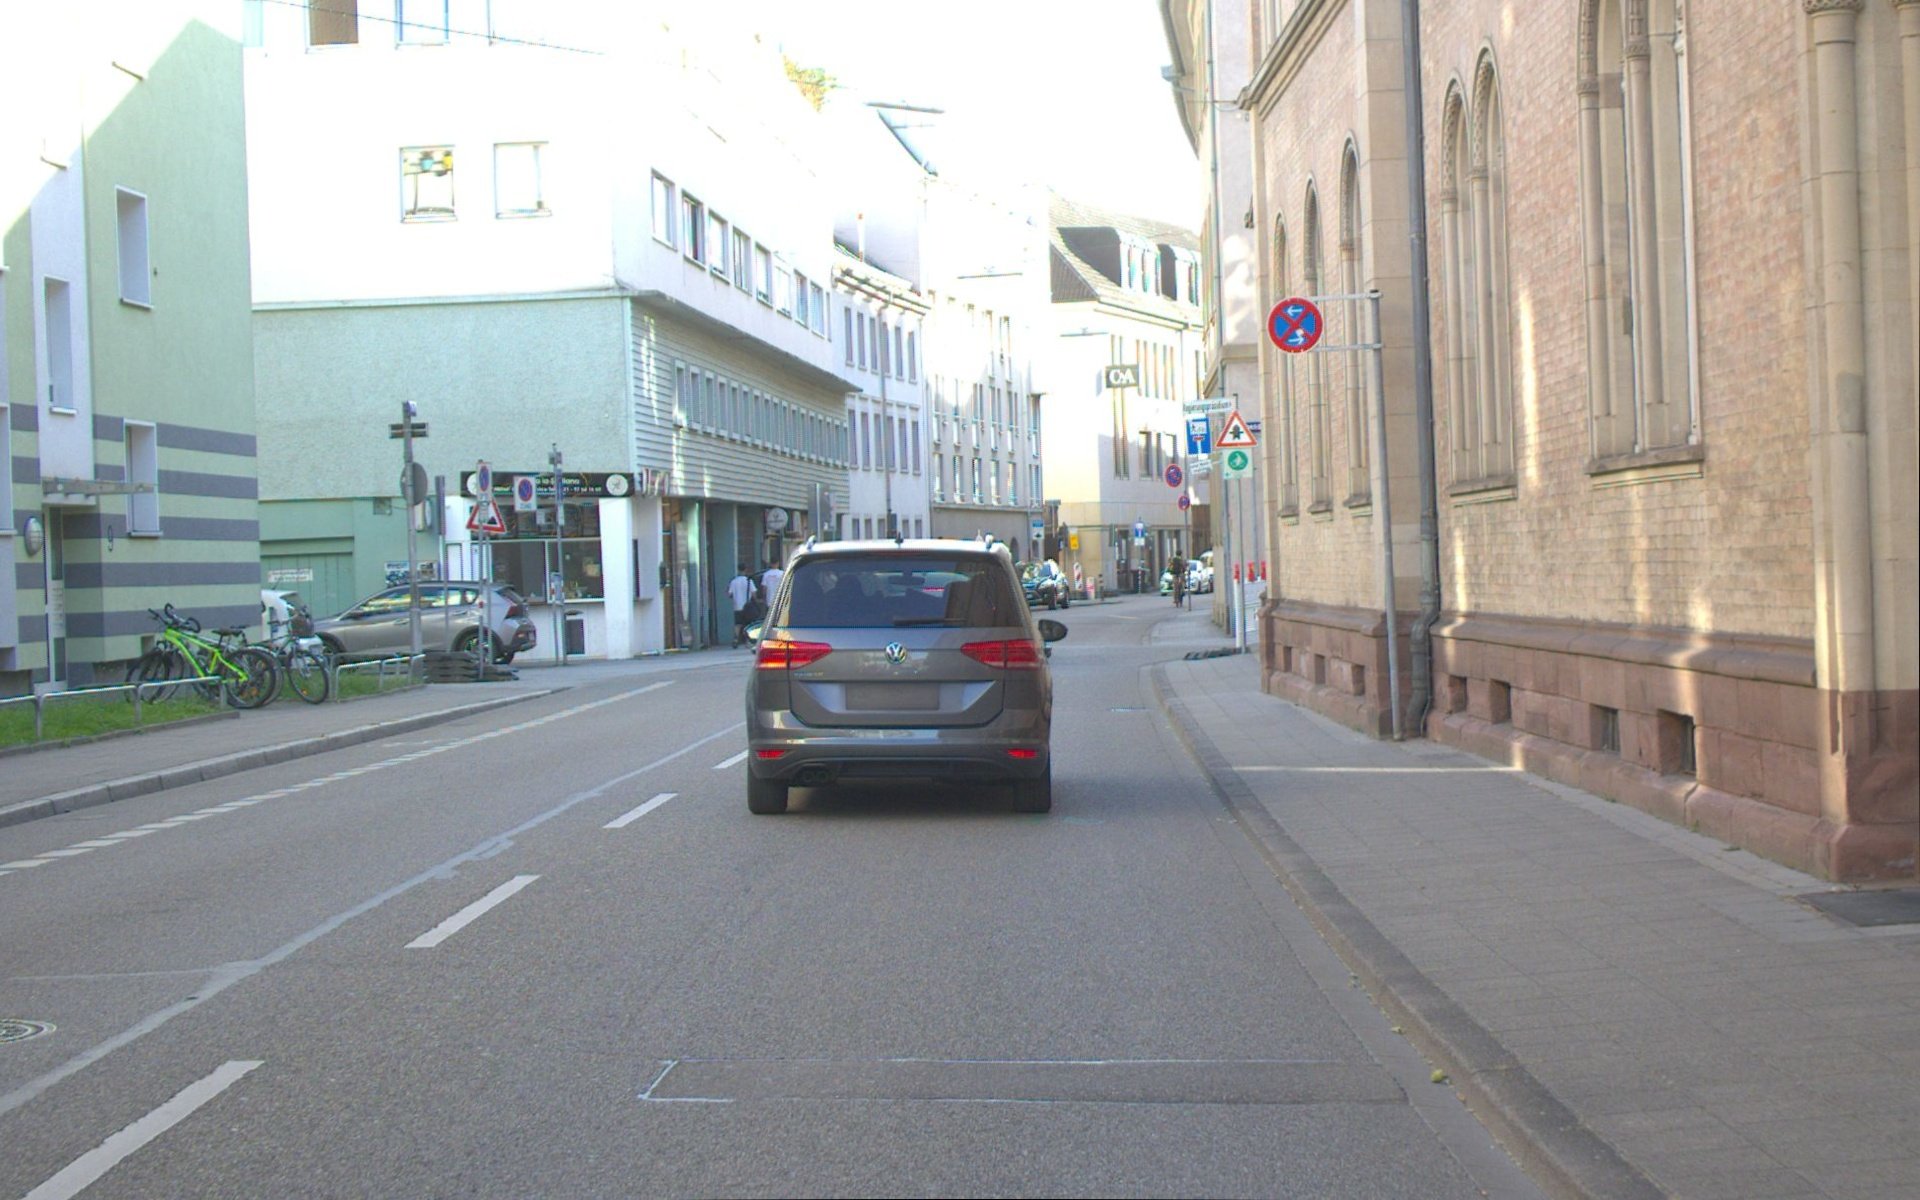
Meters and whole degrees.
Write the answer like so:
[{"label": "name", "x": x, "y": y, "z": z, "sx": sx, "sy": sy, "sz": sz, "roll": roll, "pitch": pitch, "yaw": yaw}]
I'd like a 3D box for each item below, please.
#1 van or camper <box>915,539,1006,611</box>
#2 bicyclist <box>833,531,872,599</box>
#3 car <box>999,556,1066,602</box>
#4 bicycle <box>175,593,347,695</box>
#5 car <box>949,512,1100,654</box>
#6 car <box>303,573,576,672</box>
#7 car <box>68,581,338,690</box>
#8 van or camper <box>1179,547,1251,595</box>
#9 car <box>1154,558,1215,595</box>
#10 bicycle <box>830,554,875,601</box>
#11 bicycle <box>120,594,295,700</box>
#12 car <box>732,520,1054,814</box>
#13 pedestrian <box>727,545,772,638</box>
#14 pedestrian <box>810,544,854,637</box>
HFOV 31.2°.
[{"label": "van or camper", "x": 0.046, "y": -0.738, "z": 100.310, "sx": 1.994, "sy": 2.007, "sz": 4.481, "roll": -1, "pitch": 1, "yaw": 8}, {"label": "bicyclist", "x": -2.500, "y": -0.818, "z": 80.209, "sx": 0.831, "sy": 1.556, "sz": 0.759, "roll": -1, "pitch": 1, "yaw": 2}, {"label": "car", "x": 2.479, "y": -0.714, "z": 116.397, "sx": 1.866, "sy": 1.463, "sz": 3.833, "roll": -1, "pitch": 1, "yaw": 7}, {"label": "bicycle", "x": -8.302, "y": 0.518, "z": 40.880, "sx": 1.928, "sy": 1.175, "sz": 0.613, "roll": 1, "pitch": 0, "yaw": -6}, {"label": "car", "x": 0.894, "y": -0.260, "z": 48.419, "sx": 1.993, "sy": 1.875, "sz": 4.000, "roll": -1, "pitch": 1, "yaw": 1}, {"label": "car", "x": -8.578, "y": 0.357, "z": 56.890, "sx": 4.098, "sy": 1.438, "sz": 1.947, "roll": -2, "pitch": 1, "yaw": 4}, {"label": "car", "x": -11.234, "y": 0.515, "z": 51.136, "sx": 3.501, "sy": 1.438, "sz": 1.813, "roll": -2, "pitch": 1, "yaw": 4}, {"label": "van or camper", "x": 11.316, "y": -1.279, "z": 152.000, "sx": 1.995, "sy": 2.007, "sz": 4.994, "roll": -1, "pitch": 1, "yaw": 18}, {"label": "car", "x": 9.566, "y": -1.018, "z": 146.346, "sx": 1.735, "sy": 1.463, "sz": 3.997, "roll": -1, "pitch": 1, "yaw": 16}, {"label": "bicycle", "x": -2.498, "y": -0.544, "z": 80.123, "sx": 0.831, "sy": 1.050, "sz": 2.549, "roll": -1, "pitch": 1, "yaw": 2}, {"label": "bicycle", "x": -8.627, "y": 0.542, "z": 39.423, "sx": 1.928, "sy": 1.175, "sz": 0.614, "roll": 1, "pitch": 0, "yaw": -13}, {"label": "car", "x": -0.339, "y": 0.351, "z": 21.100, "sx": 1.762, "sy": 1.601, "sz": 4.000, "roll": 1, "pitch": 1, "yaw": 1}, {"label": "pedestrian", "x": -4.181, "y": -0.165, "z": 68.353, "sx": 0.556, "sy": 1.823, "sz": 0.730, "roll": -1, "pitch": 1, "yaw": 26}, {"label": "pedestrian", "x": -2.533, "y": -0.187, "z": 68.148, "sx": 0.556, "sy": 1.823, "sz": 0.730, "roll": -1, "pitch": 1, "yaw": 26}]
